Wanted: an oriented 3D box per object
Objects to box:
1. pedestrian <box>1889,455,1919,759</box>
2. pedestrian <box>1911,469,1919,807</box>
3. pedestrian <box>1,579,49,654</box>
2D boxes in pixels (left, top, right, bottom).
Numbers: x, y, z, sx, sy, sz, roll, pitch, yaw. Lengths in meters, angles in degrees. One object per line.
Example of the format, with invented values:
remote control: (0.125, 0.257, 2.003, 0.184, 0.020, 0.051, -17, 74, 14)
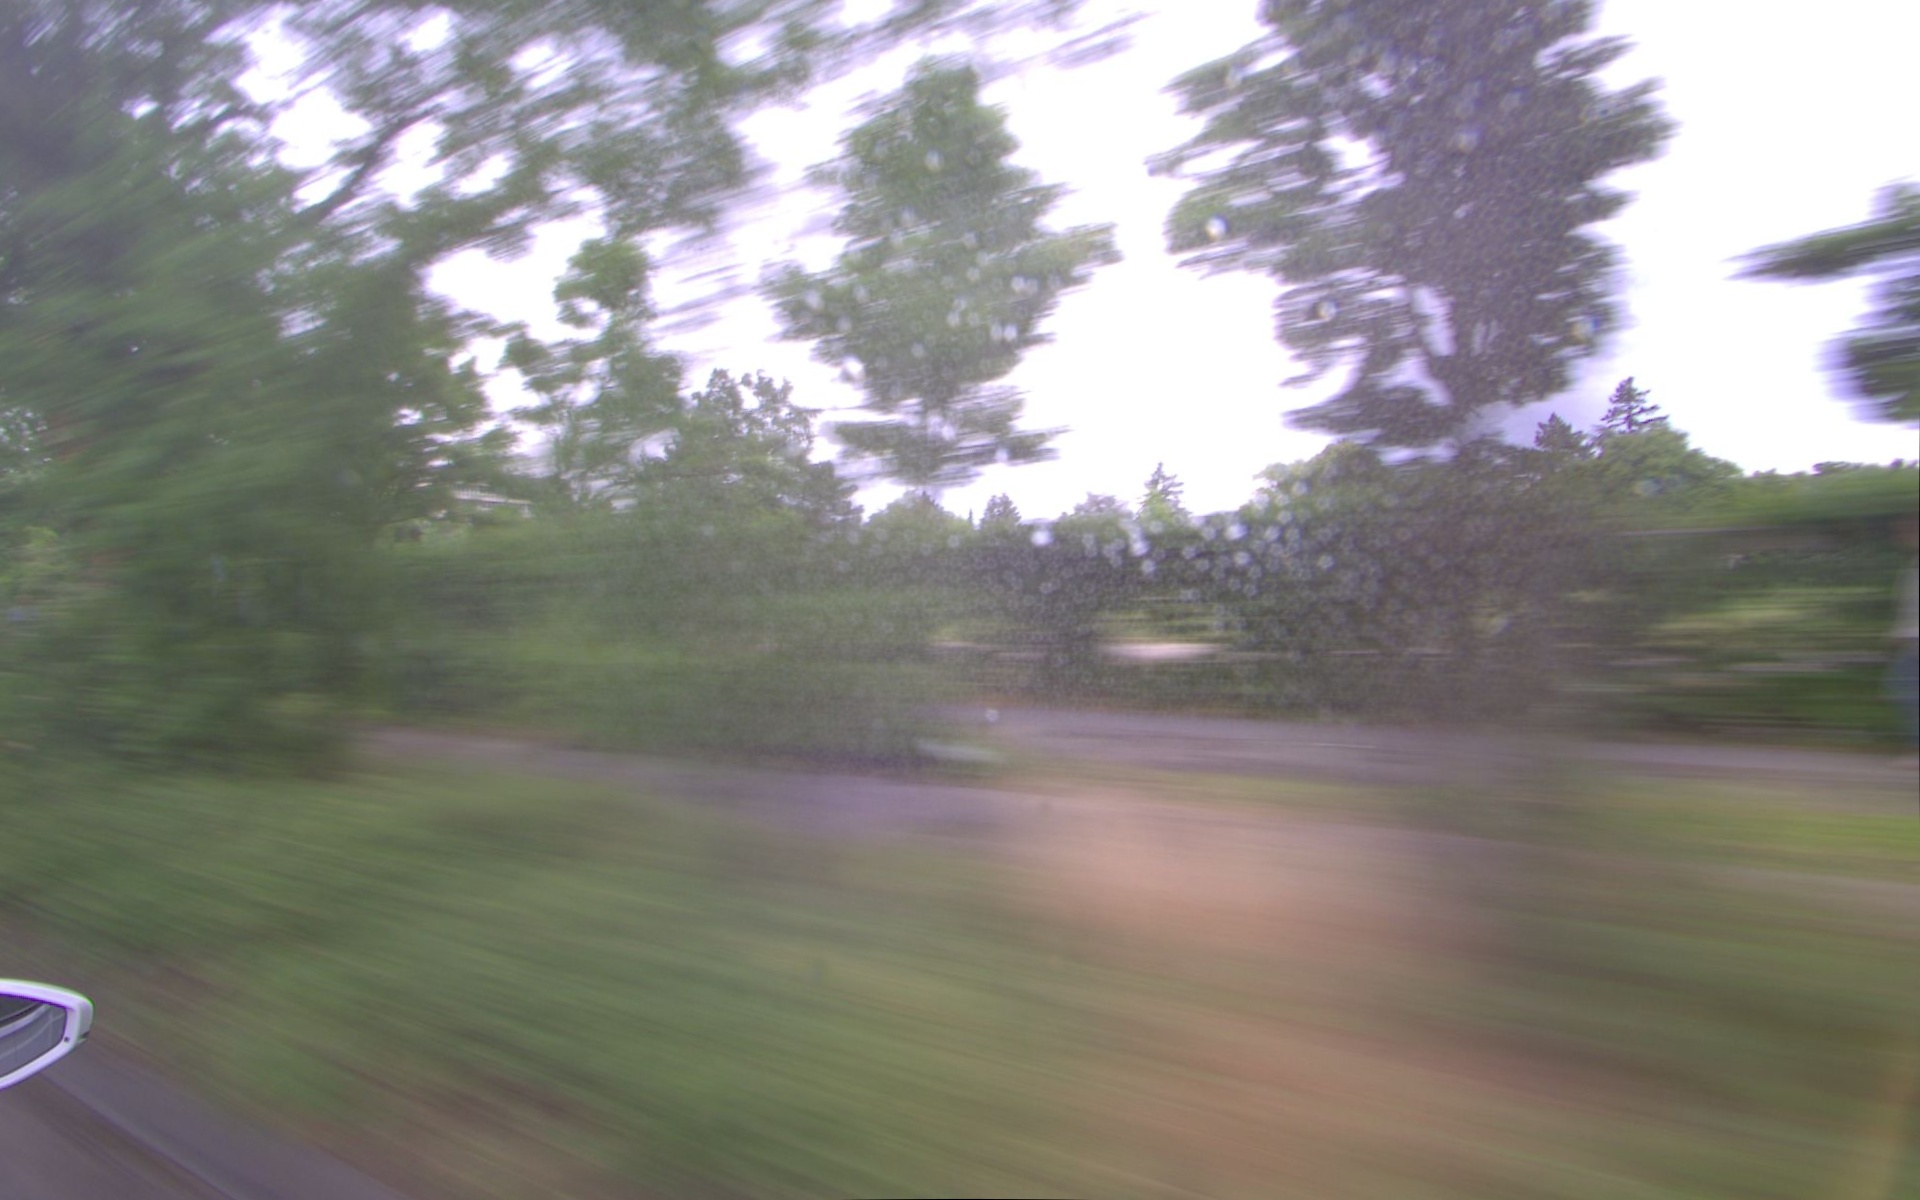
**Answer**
pedestrian: (6.882, 0.035, 6.767, 0.710, 2.041, 0.822, 0, 2, 31)
pedestrian: (6.076, 0.232, 5.478, 1.023, 2.041, 0.924, 0, 2, 28)
pedestrian: (-21.129, 0.358, 22.624, 0.808, 1.674, 0.571, 1, 2, 33)
